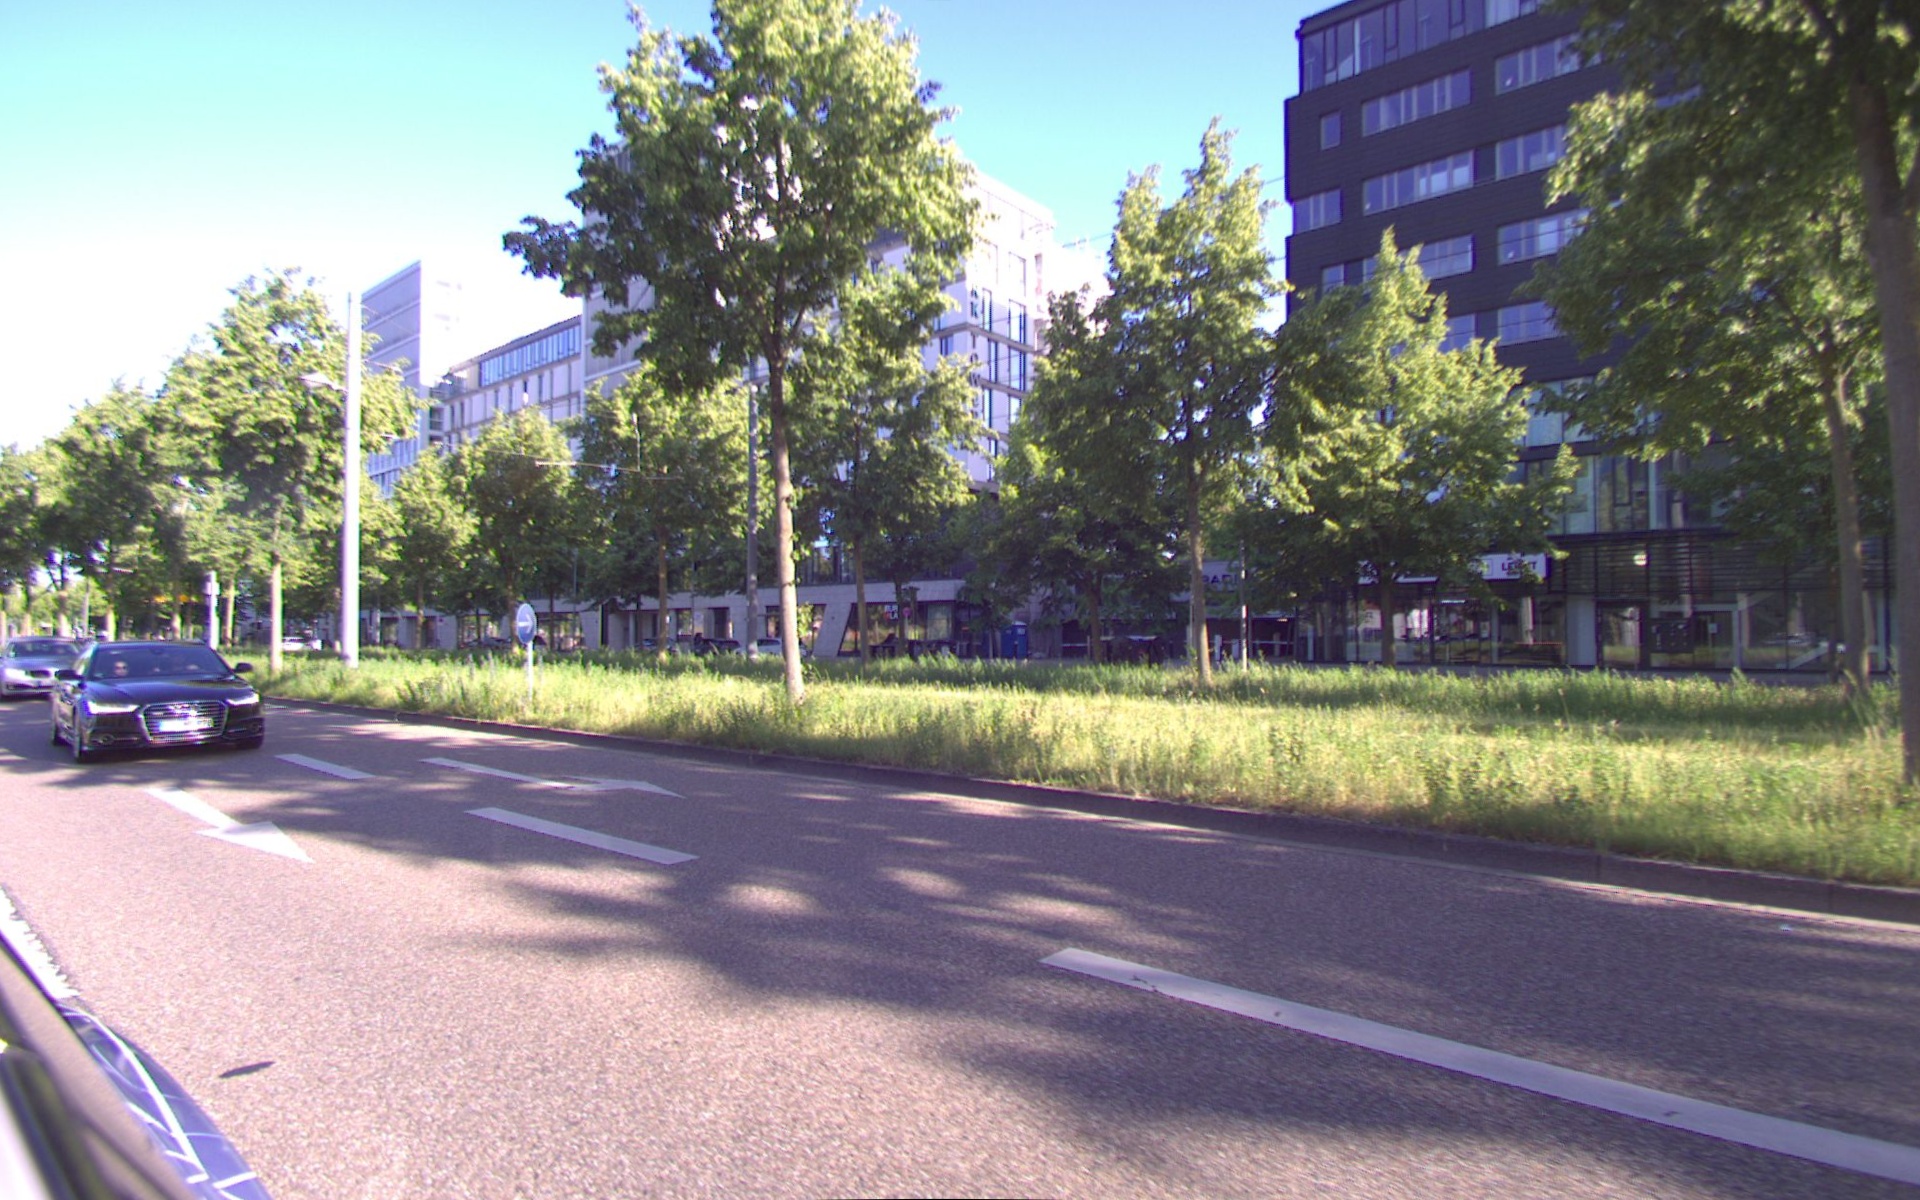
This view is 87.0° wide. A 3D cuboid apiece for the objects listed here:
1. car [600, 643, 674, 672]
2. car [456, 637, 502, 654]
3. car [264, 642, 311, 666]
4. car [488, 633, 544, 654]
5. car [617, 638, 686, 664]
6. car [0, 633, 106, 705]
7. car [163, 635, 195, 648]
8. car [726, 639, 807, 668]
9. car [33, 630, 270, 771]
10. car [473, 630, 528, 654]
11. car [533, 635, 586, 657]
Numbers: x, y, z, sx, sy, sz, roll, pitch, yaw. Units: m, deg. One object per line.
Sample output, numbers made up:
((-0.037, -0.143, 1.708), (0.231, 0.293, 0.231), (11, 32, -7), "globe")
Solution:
((-17.181, 3.037, 53.730), (4.544, 1.431, 1.697), (-2, -2, 42), "car")
((-35.029, 3.285, 73.707), (3.580, 1.217, 1.651), (-2, -2, 40), "car")
((-50.074, 4.029, 75.340), (4.317, 1.702, 1.779), (-3, -2, 40), "car")
((-30.926, 3.022, 70.454), (4.801, 1.430, 1.651), (-2, -3, 40), "car")
((-18.111, 2.955, 59.351), (4.542, 1.431, 1.697), (-2, -3, 41), "car")
((-22.325, 1.603, 24.471), (4.525, 1.581, 1.825), (-2, -3, 40), "car")
((-83.149, 4.400, 107.690), (4.307, 1.302, 1.779), (-3, -4, 40), "car")
((-10.046, 2.727, 52.273), (4.542, 1.431, 1.697), (-2, -3, 41), "car")
((-10.826, 1.193, 13.418), (4.600, 1.538, 1.765), (-2, -2, 42), "car")
((-35.629, 3.263, 78.398), (5.124, 1.790, 1.780), (-3, -2, 40), "car")
((-26.161, 2.978, 66.075), (3.751, 1.364, 1.715), (-2, -2, 40), "car")
